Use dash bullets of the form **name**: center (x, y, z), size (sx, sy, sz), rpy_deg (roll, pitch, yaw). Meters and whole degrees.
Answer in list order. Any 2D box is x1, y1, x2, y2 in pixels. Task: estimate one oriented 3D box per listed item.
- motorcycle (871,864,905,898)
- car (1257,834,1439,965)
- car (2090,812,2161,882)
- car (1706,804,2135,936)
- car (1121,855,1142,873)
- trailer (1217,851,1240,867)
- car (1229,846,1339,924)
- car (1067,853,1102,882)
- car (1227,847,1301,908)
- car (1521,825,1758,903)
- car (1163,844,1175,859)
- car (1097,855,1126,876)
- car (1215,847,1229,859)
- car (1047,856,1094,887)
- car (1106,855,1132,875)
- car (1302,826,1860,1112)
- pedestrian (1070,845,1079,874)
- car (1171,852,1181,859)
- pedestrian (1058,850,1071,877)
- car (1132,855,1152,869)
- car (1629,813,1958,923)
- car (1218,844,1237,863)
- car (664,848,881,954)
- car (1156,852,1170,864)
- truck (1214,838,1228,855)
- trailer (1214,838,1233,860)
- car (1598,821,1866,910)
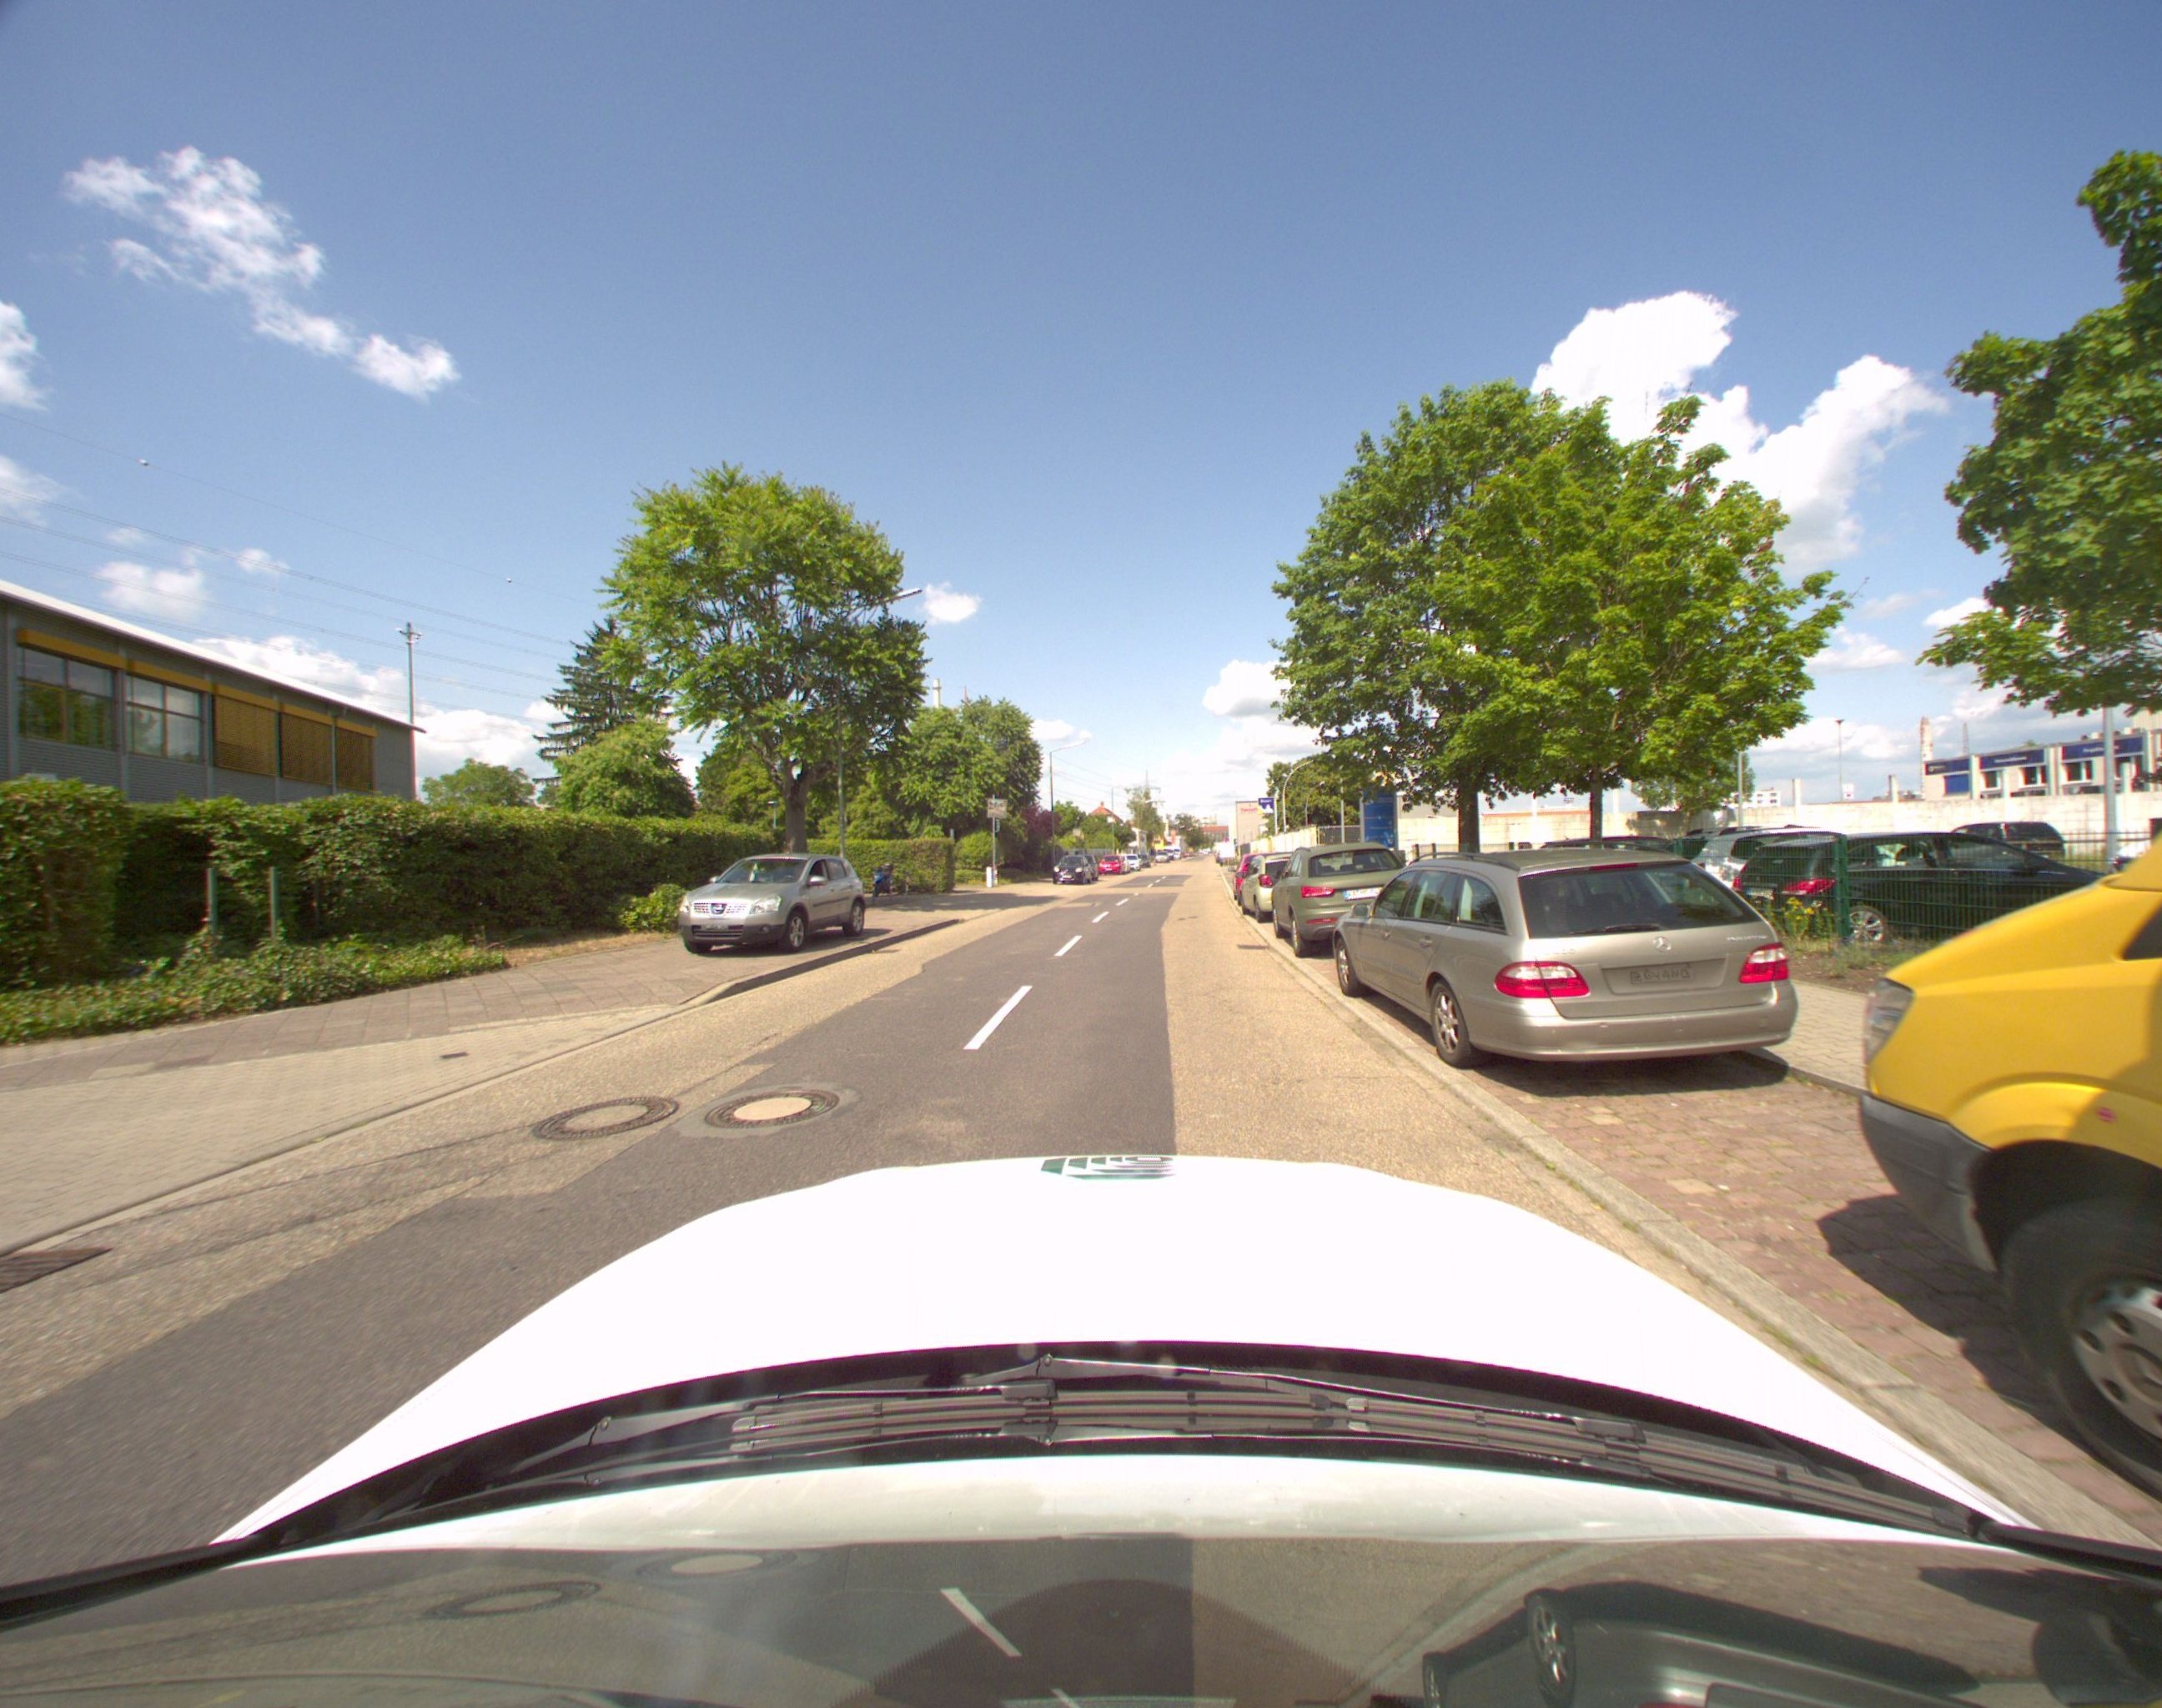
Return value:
- **motorcycle**: center (-7.464, 1.039, 31.569), size (0.529, 1.220, 2.090), rpy_deg (-2, 0, 7)
- **car**: center (4.052, 0.614, 13.185), size (1.823, 1.608, 4.577), rpy_deg (-5, -1, 7)
- **car**: center (23.460, -0.195, 16.255), size (3.728, 1.396, 2.020), rpy_deg (-2, 0, 12)
- **car**: center (11.598, 0.232, 11.568), size (3.852, 1.593, 1.914), rpy_deg (-2, -1, 9)
- **car**: center (4.635, 0.889, 74.190), size (1.612, 1.522, 4.183), rpy_deg (-1, 0, 6)
- **trailer**: center (14.688, 0.467, 81.274), size (1.741, 1.417, 4.554), rpy_deg (-5, -1, 4)
- **car**: center (4.593, 0.651, 18.948), size (1.692, 1.486, 3.810), rpy_deg (-5, -1, 3)
- **car**: center (0.234, 0.786, 48.565), size (1.641, 1.645, 3.280), rpy_deg (1, 0, 7)
- **car**: center (5.306, 0.627, 24.010), size (1.743, 1.486, 4.235), rpy_deg (-5, -1, 9)
- **car**: center (13.074, 0.245, 19.329), size (4.184, 1.593, 1.914), rpy_deg (-2, -1, 8)
- **car**: center (15.729, -0.470, 145.279), size (2.019, 2.557, 6.671), rpy_deg (0, 0, 8)
- **car**: center (2.324, 0.825, 60.473), size (1.656, 1.467, 3.754), rpy_deg (0, 0, 10)
- **car**: center (22.231, -0.166, 128.717), size (1.924, 1.693, 4.692), rpy_deg (-4, 0, 9)
- **car**: center (-0.496, 0.882, 43.729), size (1.834, 1.508, 4.010), rpy_deg (1, 0, 9)
- **car**: center (3.103, 0.859, 65.208), size (1.635, 1.477, 4.038), rpy_deg (-1, 0, 8)
- **car**: center (3.498, 0.658, 7.160), size (1.867, 1.477, 5.172), rpy_deg (-4, 0, 3)
- **pedestrian**: center (-0.418, 0.377, 55.485), size (0.448, 1.894, 0.679), rpy_deg (-2, -1, 9)
- **car**: center (19.244, 0.338, 164.767), size (1.785, 1.397, 4.515), rpy_deg (0, 0, 10)
- **pedestrian**: center (-1.097, 0.621, 55.190), size (0.704, 1.801, 0.918), rpy_deg (-2, -1, 9)
- **car**: center (6.411, 0.798, 85.676), size (1.795, 1.418, 4.507), rpy_deg (0, 0, 8)
- **car**: center (12.134, 0.245, 14.149), size (3.852, 1.637, 1.914), rpy_deg (-2, -1, 9)
- **car**: center (16.479, -0.026, 91.663), size (1.982, 2.013, 5.664), rpy_deg (-2, 0, 9)
- **car**: center (-5.157, 0.714, 14.379), size (1.749, 1.574, 4.484), rpy_deg (-1, 0, 5)
- **car**: center (12.379, 0.559, 122.855), size (1.780, 1.719, 4.764), rpy_deg (1, 0, 9)
- **truck**: center (29.605, -1.506, 172.271), size (2.443, 3.293, 6.836), rpy_deg (-6, -1, 10)
- **trailer**: center (19.245, -0.685, 110.489), size (2.192, 2.737, 6.237), rpy_deg (-5, -1, 9)
- **car**: center (13.246, 0.245, 16.826), size (3.852, 1.593, 1.914), rpy_deg (-2, -1, 9)
